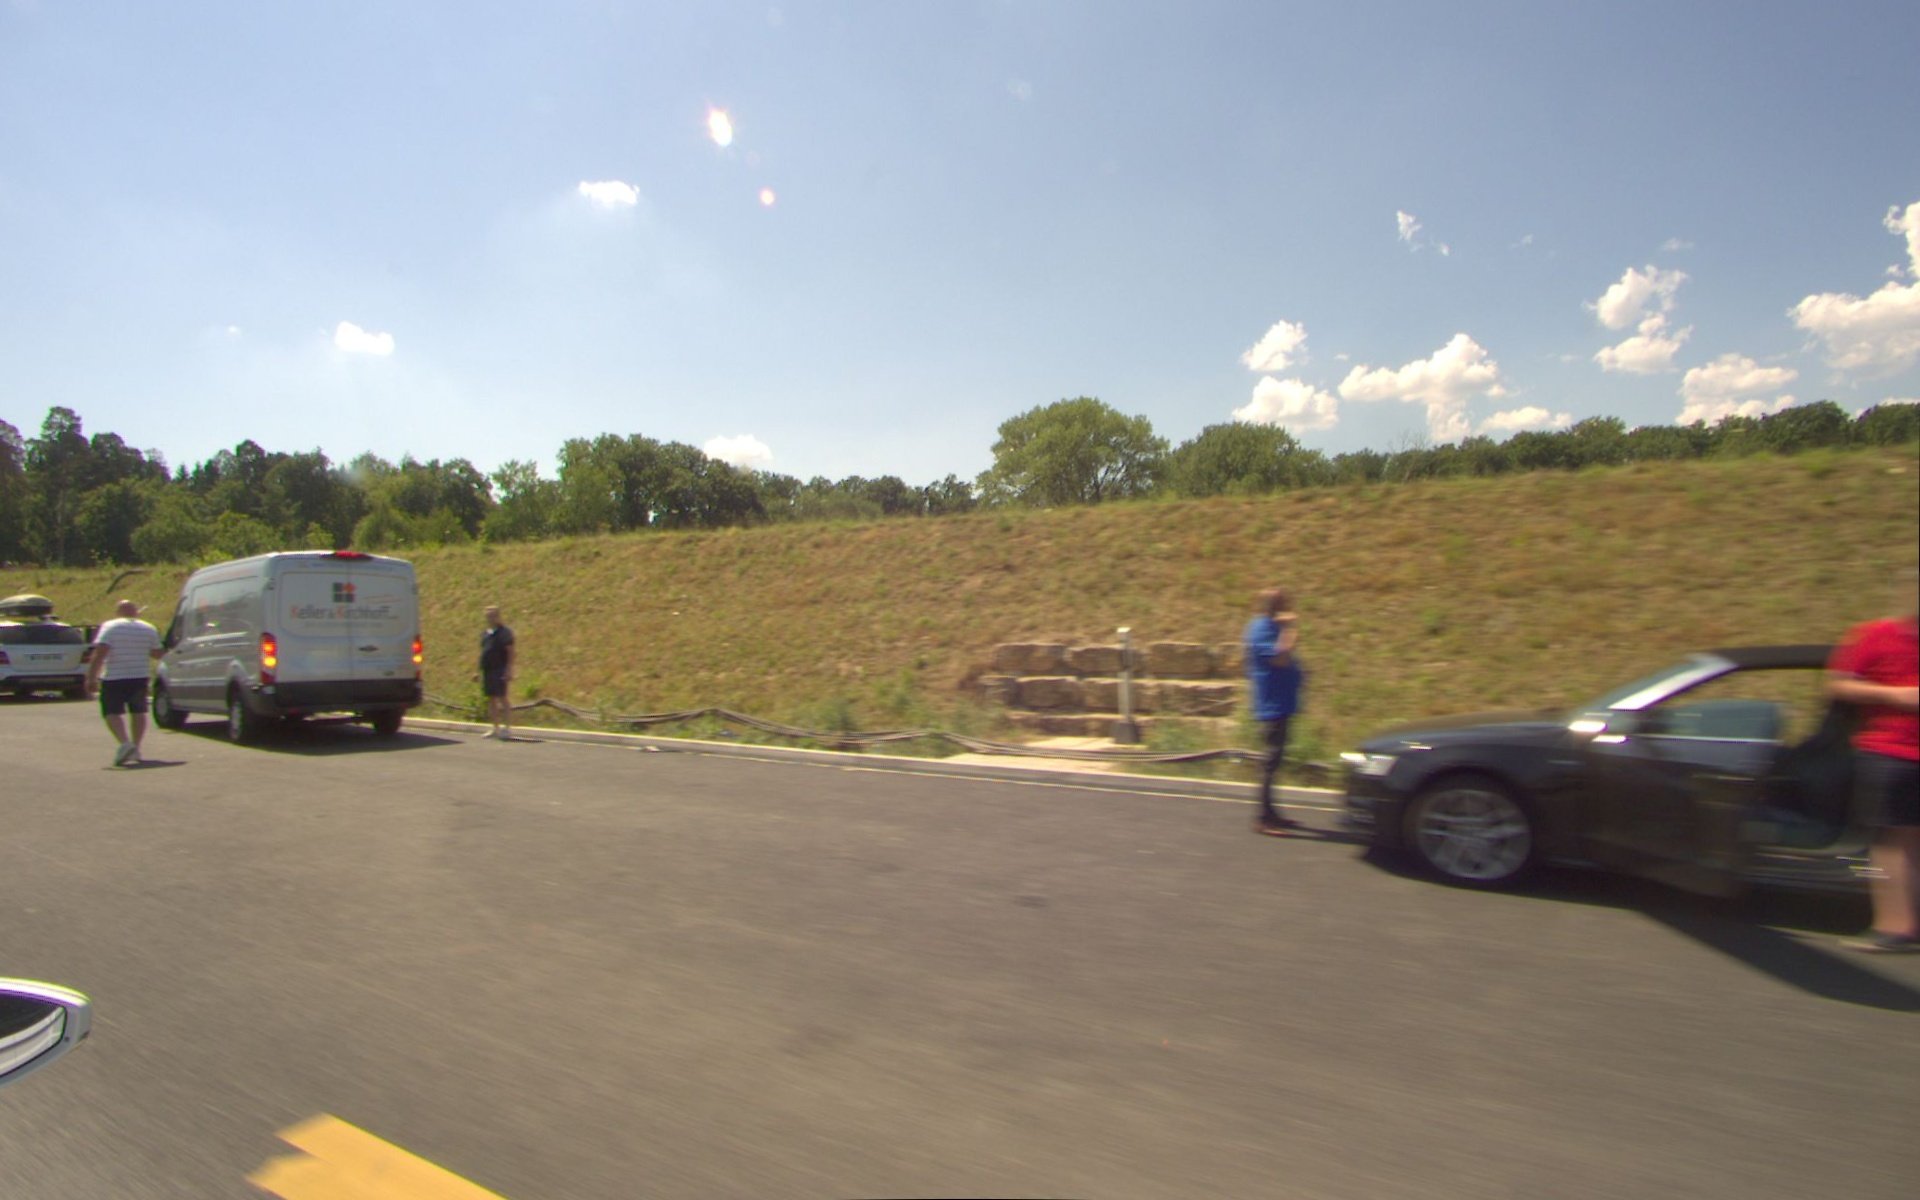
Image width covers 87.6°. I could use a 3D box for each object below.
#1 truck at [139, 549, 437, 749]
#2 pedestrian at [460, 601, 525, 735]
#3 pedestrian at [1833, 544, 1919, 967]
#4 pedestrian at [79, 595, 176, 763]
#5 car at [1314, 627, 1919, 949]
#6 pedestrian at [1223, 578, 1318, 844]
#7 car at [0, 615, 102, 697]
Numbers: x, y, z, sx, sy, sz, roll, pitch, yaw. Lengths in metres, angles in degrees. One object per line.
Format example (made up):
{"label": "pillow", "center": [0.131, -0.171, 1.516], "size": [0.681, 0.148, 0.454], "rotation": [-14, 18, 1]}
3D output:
{"label": "truck", "center": [-10.303, 0.688, 15.130], "size": [5.854, 2.488, 2.122], "rotation": [-1, -2, 39]}
{"label": "pedestrian", "center": [-6.556, 0.941, 14.054], "size": [0.657, 1.818, 0.563], "rotation": [-2, -2, 30]}
{"label": "pedestrian", "center": [4.519, 0.689, 4.568], "size": [0.548, 1.851, 0.642], "rotation": [0, -1, 11]}
{"label": "pedestrian", "center": [-9.587, 0.891, 11.536], "size": [0.711, 1.851, 0.720], "rotation": [-2, -2, 39]}
{"label": "car", "center": [4.503, 0.910, 5.651], "size": [4.480, 1.446, 1.650], "rotation": [-1, 1, 33]}
{"label": "pedestrian", "center": [2.297, 0.783, 7.377], "size": [0.631, 1.851, 0.625], "rotation": [0, -1, 20]}
{"label": "car", "center": [-21.528, 1.200, 22.537], "size": [4.780, 1.698, 1.774], "rotation": [0, -2, 29]}
